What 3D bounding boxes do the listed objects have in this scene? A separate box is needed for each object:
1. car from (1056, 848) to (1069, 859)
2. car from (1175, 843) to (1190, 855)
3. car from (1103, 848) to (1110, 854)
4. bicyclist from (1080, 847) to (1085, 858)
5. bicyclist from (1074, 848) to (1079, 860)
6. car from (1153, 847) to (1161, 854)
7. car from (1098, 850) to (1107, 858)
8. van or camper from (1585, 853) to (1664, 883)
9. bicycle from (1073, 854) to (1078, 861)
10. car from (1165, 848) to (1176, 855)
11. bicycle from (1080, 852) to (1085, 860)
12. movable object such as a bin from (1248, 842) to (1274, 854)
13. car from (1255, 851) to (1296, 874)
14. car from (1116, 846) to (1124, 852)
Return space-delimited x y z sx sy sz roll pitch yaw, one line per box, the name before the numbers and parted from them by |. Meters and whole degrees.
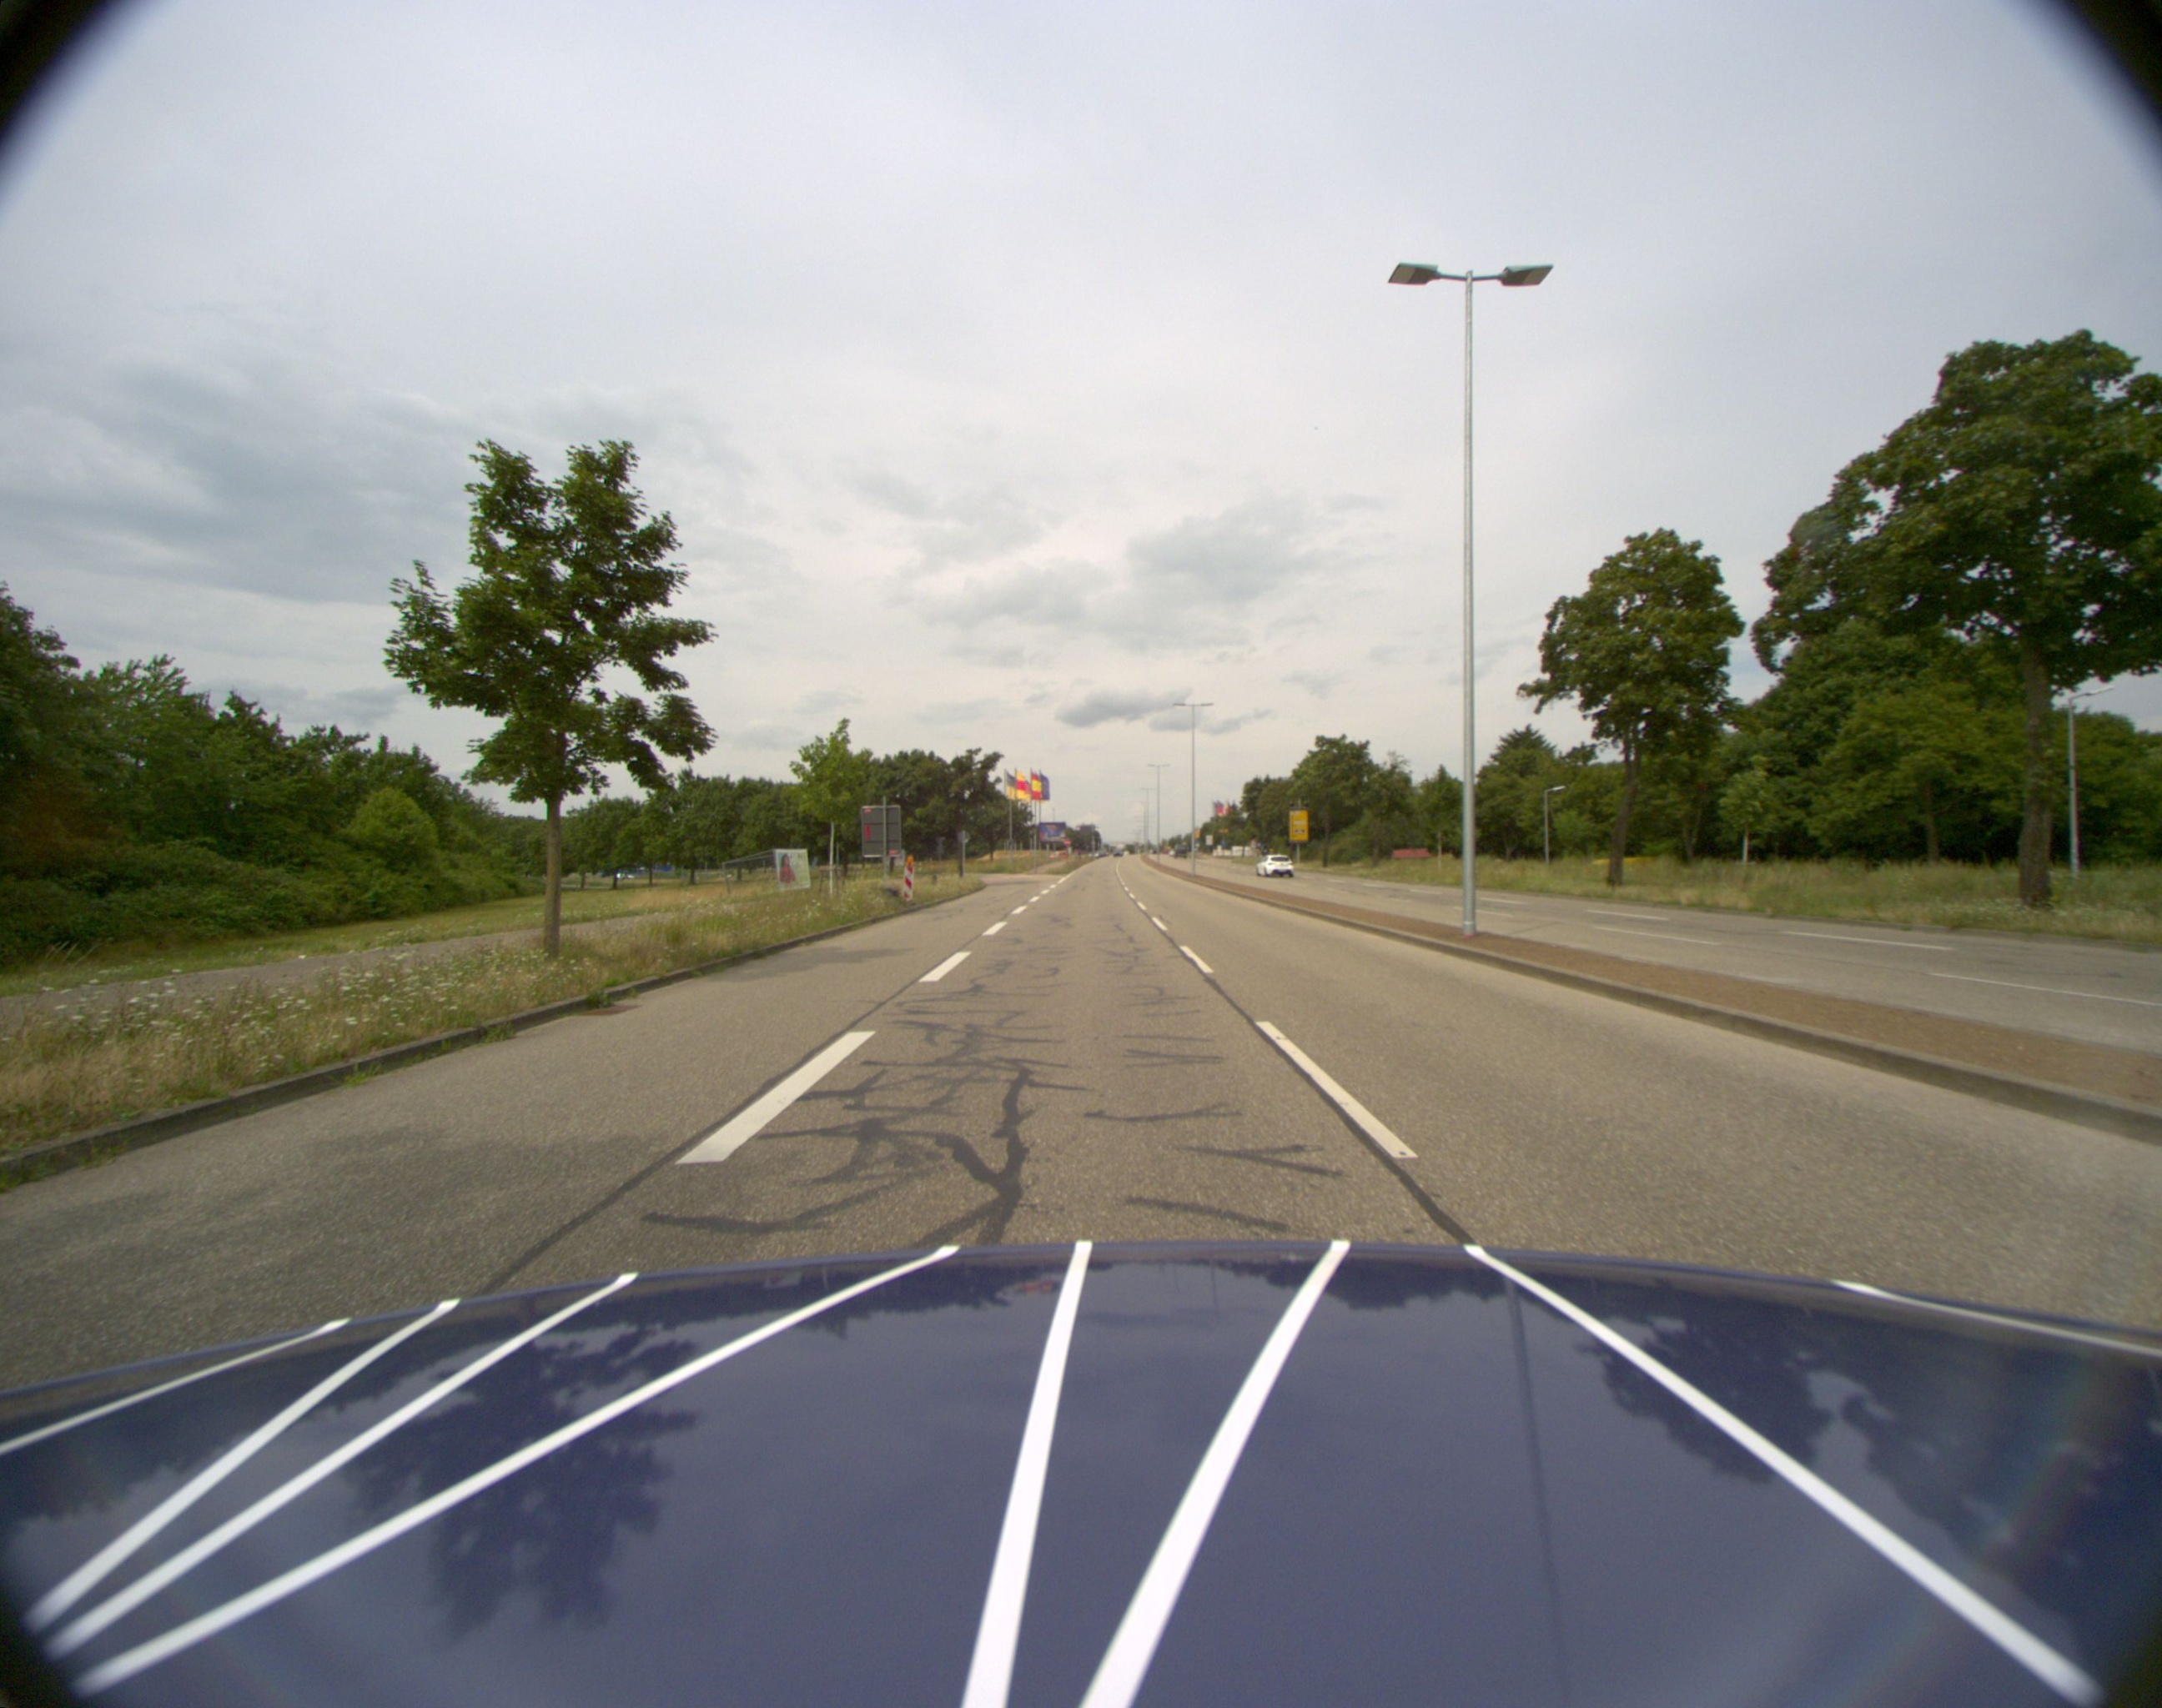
car | -3.281 -0.086 135.546 1.892 1.824 4.432 -2 -1 3
car | 17.946 -0.848 134.539 2.100 2.188 6.004 0 0 1
car | 6.258 -0.687 183.360 1.558 1.229 3.471 -2 -1 3
bicyclist | 0.284 -0.184 118.104 0.705 1.745 0.991 -1 0 2
bicyclist | -0.704 -0.021 112.970 0.623 1.656 0.669 2 0 2
car | 20.688 -0.991 206.993 1.998 1.800 4.798 0 -1 2
car | 4.207 0.021 151.586 1.695 1.403 3.684 -2 -1 1
van or camper | 40.627 1.023 56.907 4.361 2.002 2.001 -2 1 11
bicycle | -0.742 0.508 112.884 0.624 0.883 2.154 -1 1 2
car | 18.886 -0.547 160.846 1.998 1.422 4.689 0 0 3
bicycle | 0.288 0.320 117.988 0.695 1.185 2.461 0 0 3
movable object such as a bin | 36.629 -1.138 154.503 4.592 2.383 1.999 -1 0 -7
car | 12.766 0.548 50.131 1.721 1.411 4.160 1 -1 2
car | 8.194 -1.000 158.189 1.558 1.229 3.471 -2 -1 3
